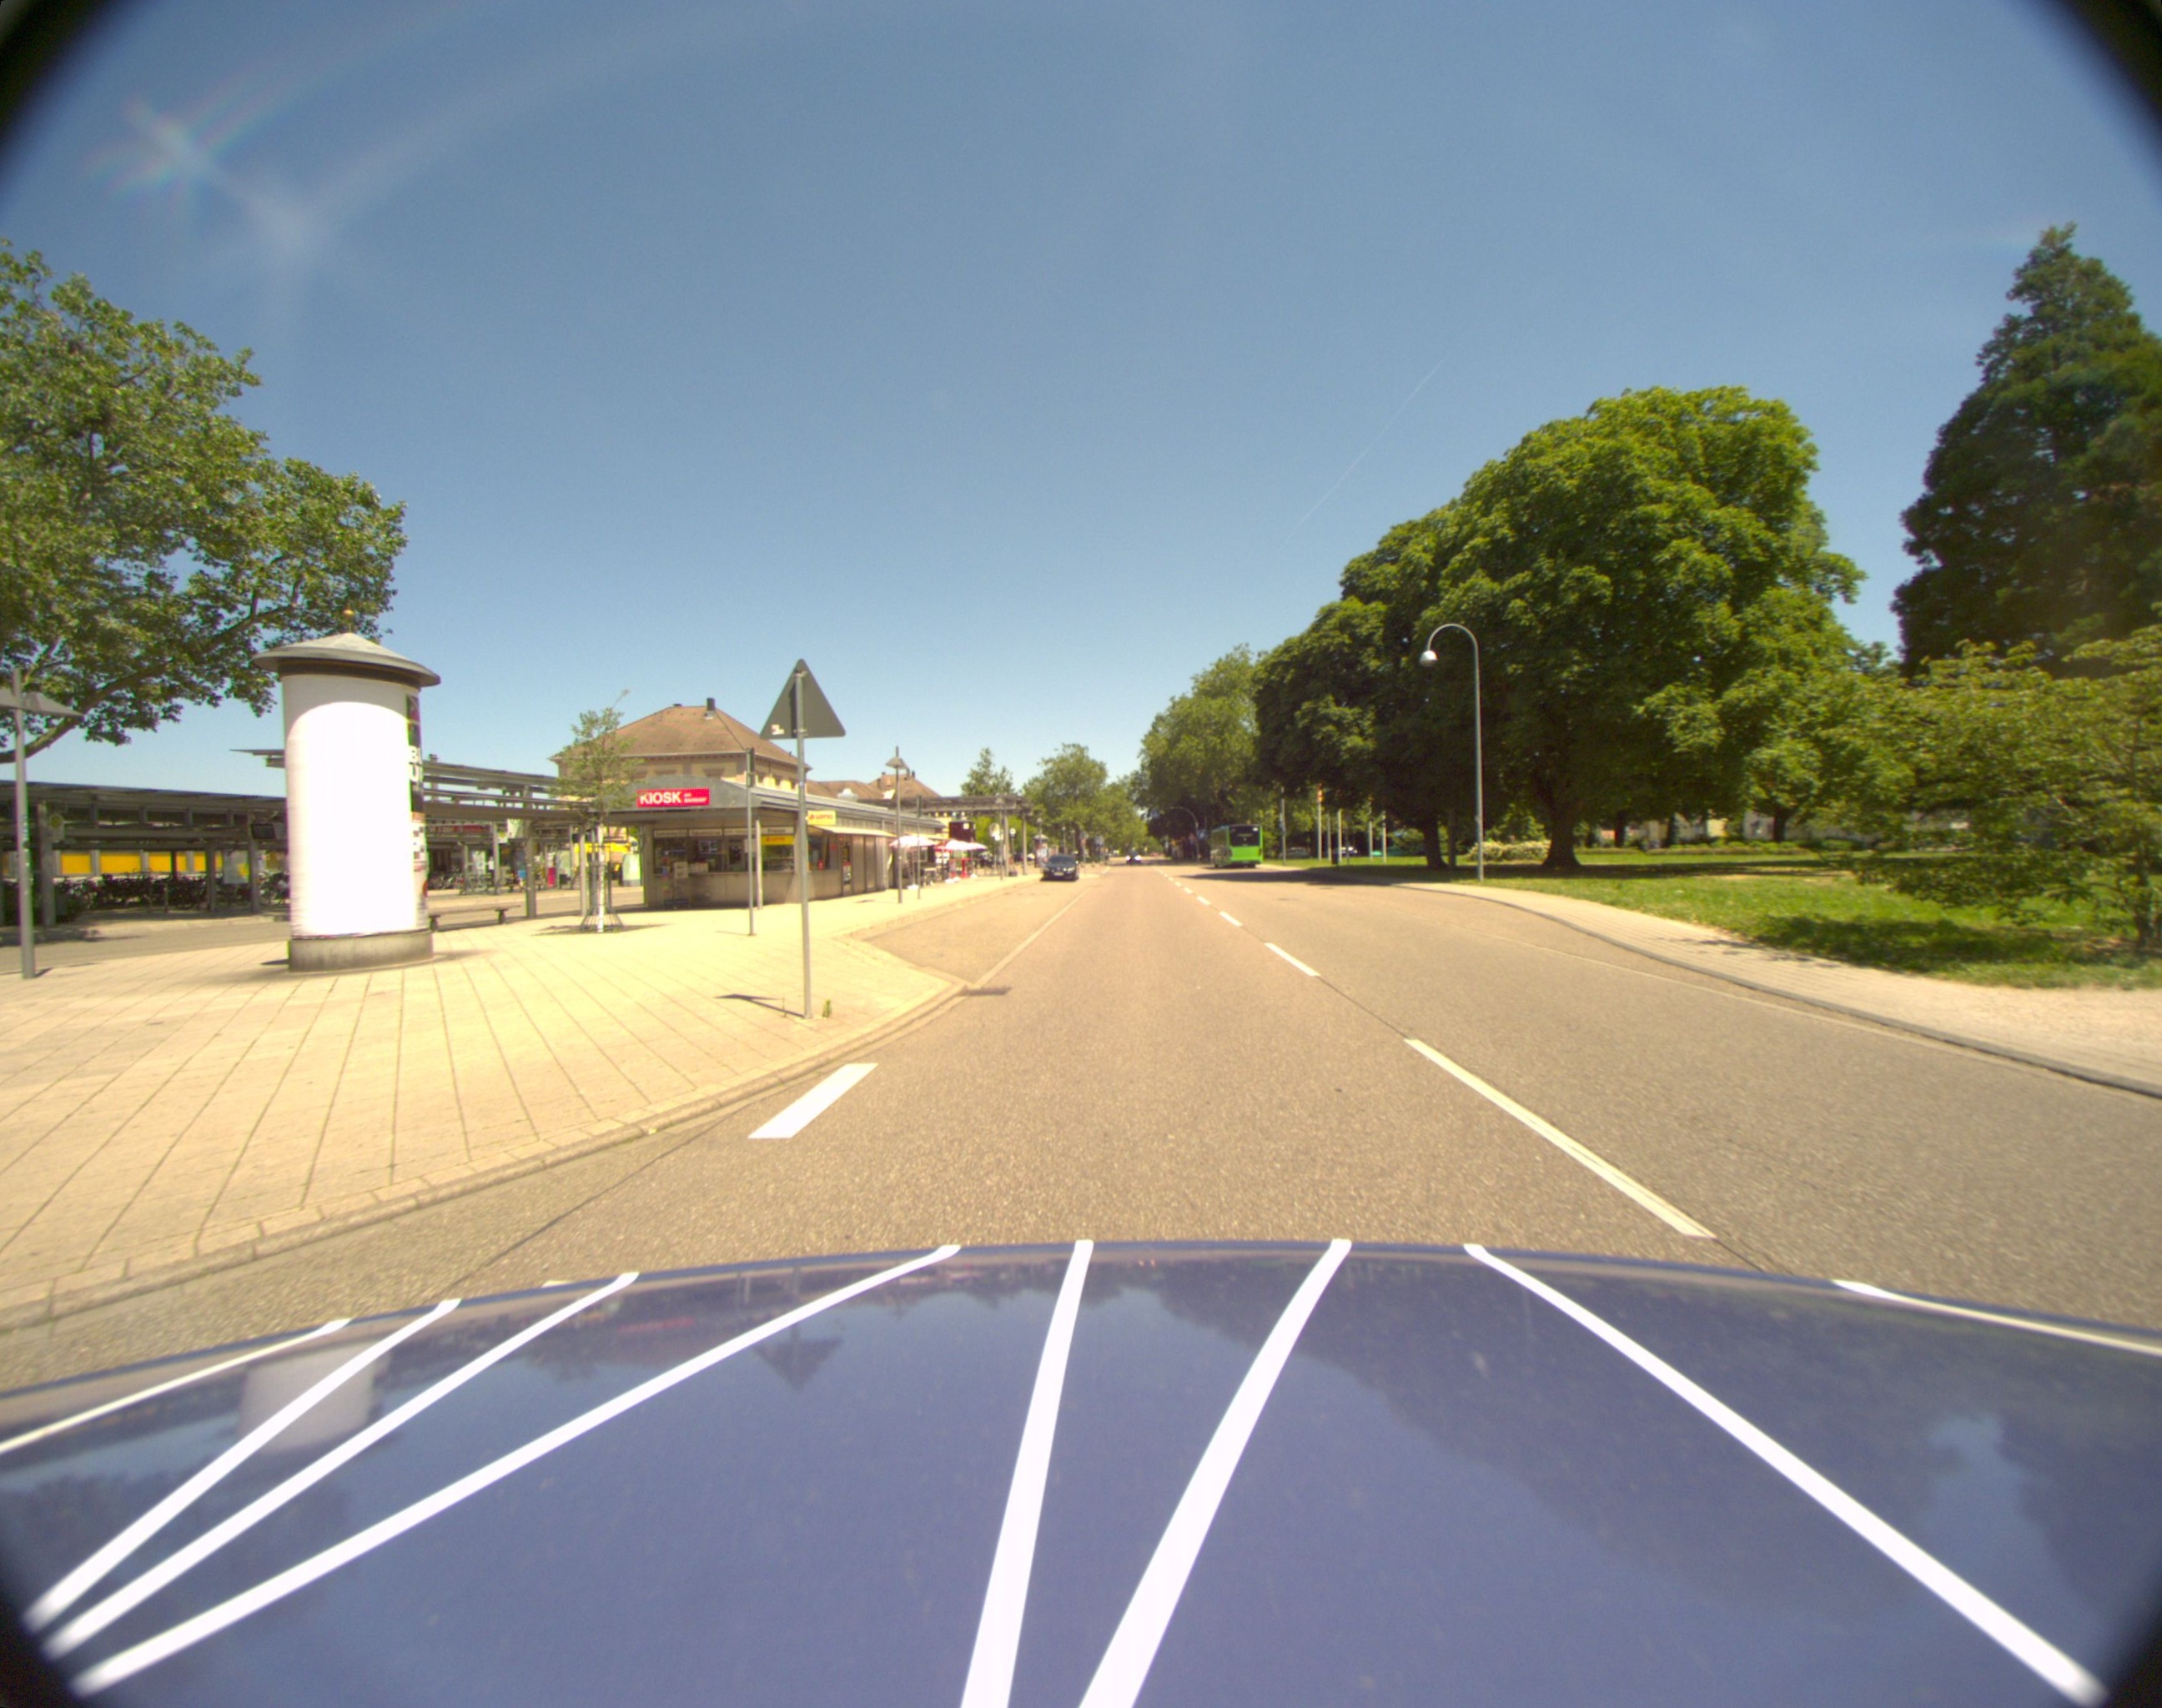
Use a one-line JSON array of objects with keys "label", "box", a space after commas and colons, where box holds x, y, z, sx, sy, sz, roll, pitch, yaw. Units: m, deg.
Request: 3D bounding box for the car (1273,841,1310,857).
[{"label": "car", "box": [25.550, -0.565, 92.308, 3.995, 1.793, 2.001, -2, 1, 7]}]

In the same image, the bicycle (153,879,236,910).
[{"label": "bicycle", "box": [-32.046, 1.463, 27.483, 2.168, 1.068, 0.670, 0, 4, 1]}]

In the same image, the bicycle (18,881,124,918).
[{"label": "bicycle", "box": [-36.174, 1.595, 27.270, 0.669, 1.068, 2.169, 1, 4, 8]}]

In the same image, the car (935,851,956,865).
[{"label": "car", "box": [-19.733, 0.595, 110.534, 1.998, 1.869, 4.001, -2, 1, 5]}]

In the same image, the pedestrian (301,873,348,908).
[{"label": "pedestrian", "box": [-29.344, 1.393, 29.472, 0.962, 1.297, 0.831, -1, 1, 5]}]

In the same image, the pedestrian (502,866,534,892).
[{"label": "pedestrian", "box": [-28.690, 1.268, 38.716, 0.962, 1.297, 0.831, -1, 1, 5]}]

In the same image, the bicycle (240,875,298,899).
[{"label": "bicycle", "box": [-38.094, 1.544, 35.636, 2.166, 1.068, 0.670, 1, 4, 8]}]

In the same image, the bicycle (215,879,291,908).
[{"label": "bicycle", "box": [-31.859, 1.514, 29.256, 2.168, 1.068, 0.670, 0, 4, 1]}]

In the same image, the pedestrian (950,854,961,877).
[{"label": "pedestrian", "box": [-6.903, 0.611, 41.730, 0.503, 1.225, 0.513, -2, 1, -2]}]

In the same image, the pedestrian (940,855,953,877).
[{"label": "pedestrian", "box": [-7.326, 0.649, 41.342, 0.489, 1.204, 0.472, -2, 1, 10]}]

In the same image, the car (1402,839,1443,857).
[{"label": "car", "box": [40.856, -0.718, 91.027, 3.996, 2.002, 2.000, -2, 1, 4]}]

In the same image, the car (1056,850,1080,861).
[{"label": "car", "box": [-2.190, 0.296, 127.859, 3.998, 1.655, 1.999, -2, 1, -3]}]

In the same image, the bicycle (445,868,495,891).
[{"label": "bicycle", "box": [-31.524, 1.309, 39.227, 2.166, 1.068, 0.670, 1, 4, 8]}]

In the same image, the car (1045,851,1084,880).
[{"label": "car", "box": [-0.864, 0.614, 42.851, 1.777, 1.536, 4.184, 0, 1, 5]}]

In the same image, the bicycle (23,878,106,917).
[{"label": "bicycle", "box": [-35.007, 1.472, 26.218, 0.671, 1.068, 2.164, -2, 4, -24]}]

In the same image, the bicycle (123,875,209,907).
[{"label": "bicycle", "box": [-37.599, 1.500, 31.258, 0.669, 1.068, 2.169, 1, 4, 8]}]

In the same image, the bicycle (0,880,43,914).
[{"label": "bicycle", "box": [-37.400, 1.514, 25.955, 0.669, 1.068, 2.169, 1, 4, 8]}]

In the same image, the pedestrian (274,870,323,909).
[{"label": "pedestrian", "box": [-29.410, 1.333, 28.574, 0.962, 1.378, 0.831, -1, 1, 5]}]

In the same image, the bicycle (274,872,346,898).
[{"label": "bicycle", "box": [-35.783, 1.421, 35.307, 2.170, 1.068, 0.862, -1, 4, -13]}]

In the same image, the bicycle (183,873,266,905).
[{"label": "bicycle", "box": [-34.859, 1.401, 30.975, 0.669, 1.068, 2.169, 1, 4, 8]}]

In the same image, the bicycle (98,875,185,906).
[{"label": "bicycle", "box": [-38.782, 1.488, 31.425, 0.669, 1.068, 2.169, 1, 4, 8]}]

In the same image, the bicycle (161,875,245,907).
[{"label": "bicycle", "box": [-35.913, 1.480, 31.133, 0.669, 1.068, 2.169, 1, 4, 8]}]

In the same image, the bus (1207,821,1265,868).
[{"label": "bus", "box": [12.165, -0.737, 60.773, 2.813, 3.283, 11.859, -2, 1, 4]}]

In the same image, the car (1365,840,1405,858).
[{"label": "car", "box": [36.503, -0.554, 91.213, 3.996, 2.002, 2.000, -2, 1, 4]}]

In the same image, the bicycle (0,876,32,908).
[{"label": "bicycle", "box": [-38.933, 1.360, 26.915, 2.170, 1.068, 0.669, -1, 4, -9]}]

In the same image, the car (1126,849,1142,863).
[{"label": "car", "box": [6.281, 0.225, 89.621, 1.777, 1.536, 4.184, 0, 1, 5]}]
